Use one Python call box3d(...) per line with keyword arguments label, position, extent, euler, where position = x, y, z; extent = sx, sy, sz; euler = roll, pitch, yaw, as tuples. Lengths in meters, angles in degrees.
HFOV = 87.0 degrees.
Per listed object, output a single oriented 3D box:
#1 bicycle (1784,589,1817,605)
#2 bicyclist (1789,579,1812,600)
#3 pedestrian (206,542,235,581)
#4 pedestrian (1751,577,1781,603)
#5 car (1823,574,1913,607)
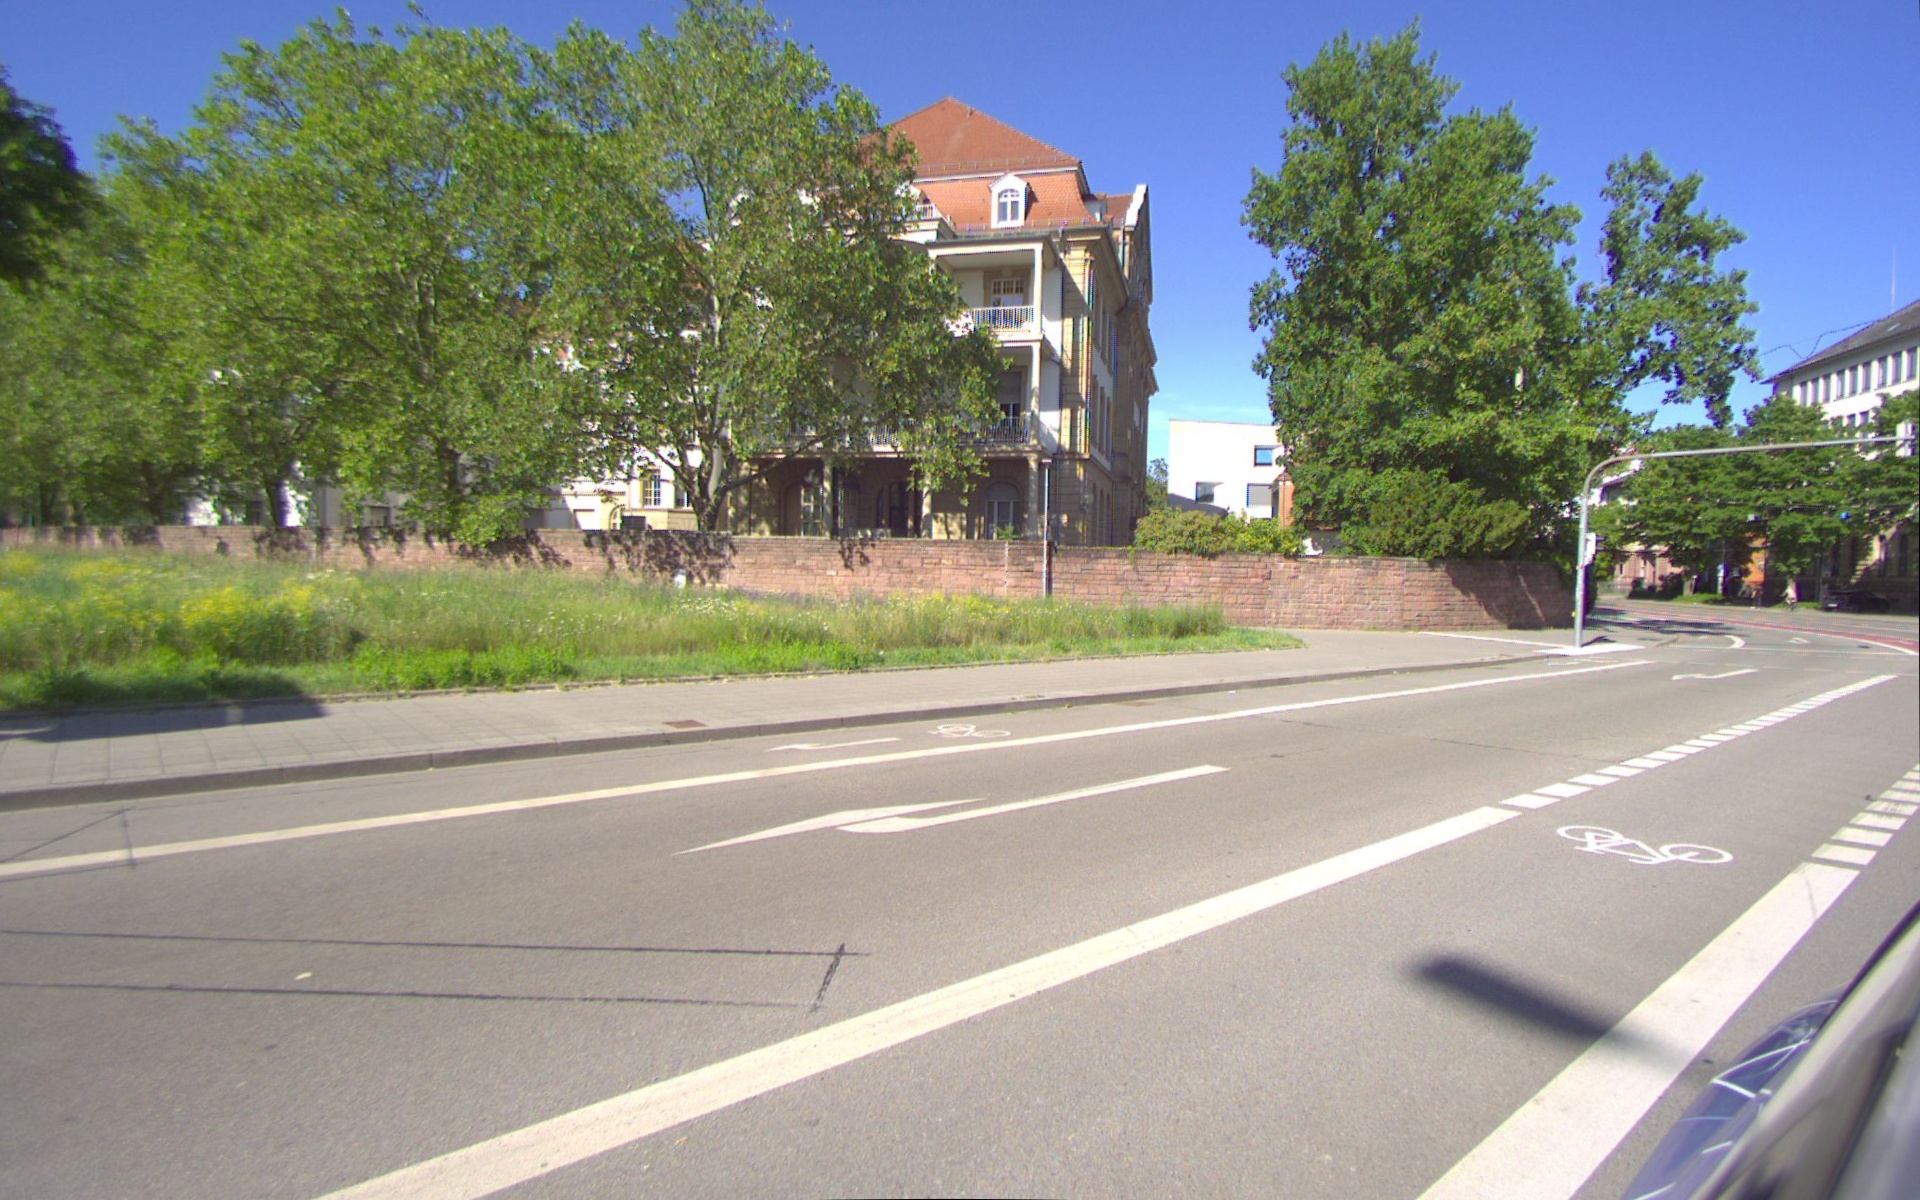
box3d(label="bicycle", position=(56.579, -0.221, 68.157), extent=(0.720, 1.003, 1.834), euler=(1, 2, 3))
box3d(label="bicyclist", position=(56.586, -0.702, 68.131), extent=(0.720, 1.402, 0.895), euler=(1, 1, 3))
box3d(label="pedestrian", position=(-28.307, -1.460, 38.731), extent=(0.516, 1.461, 0.721), euler=(0, 0, 20))
box3d(label="pedestrian", position=(59.503, -0.752, 74.698), extent=(1.366, 1.844, 0.937), euler=(1, 1, 4))
box3d(label="car", position=(61.208, -0.647, 68.251), extent=(4.615, 2.038, 2.004), euler=(1, 2, -9))
